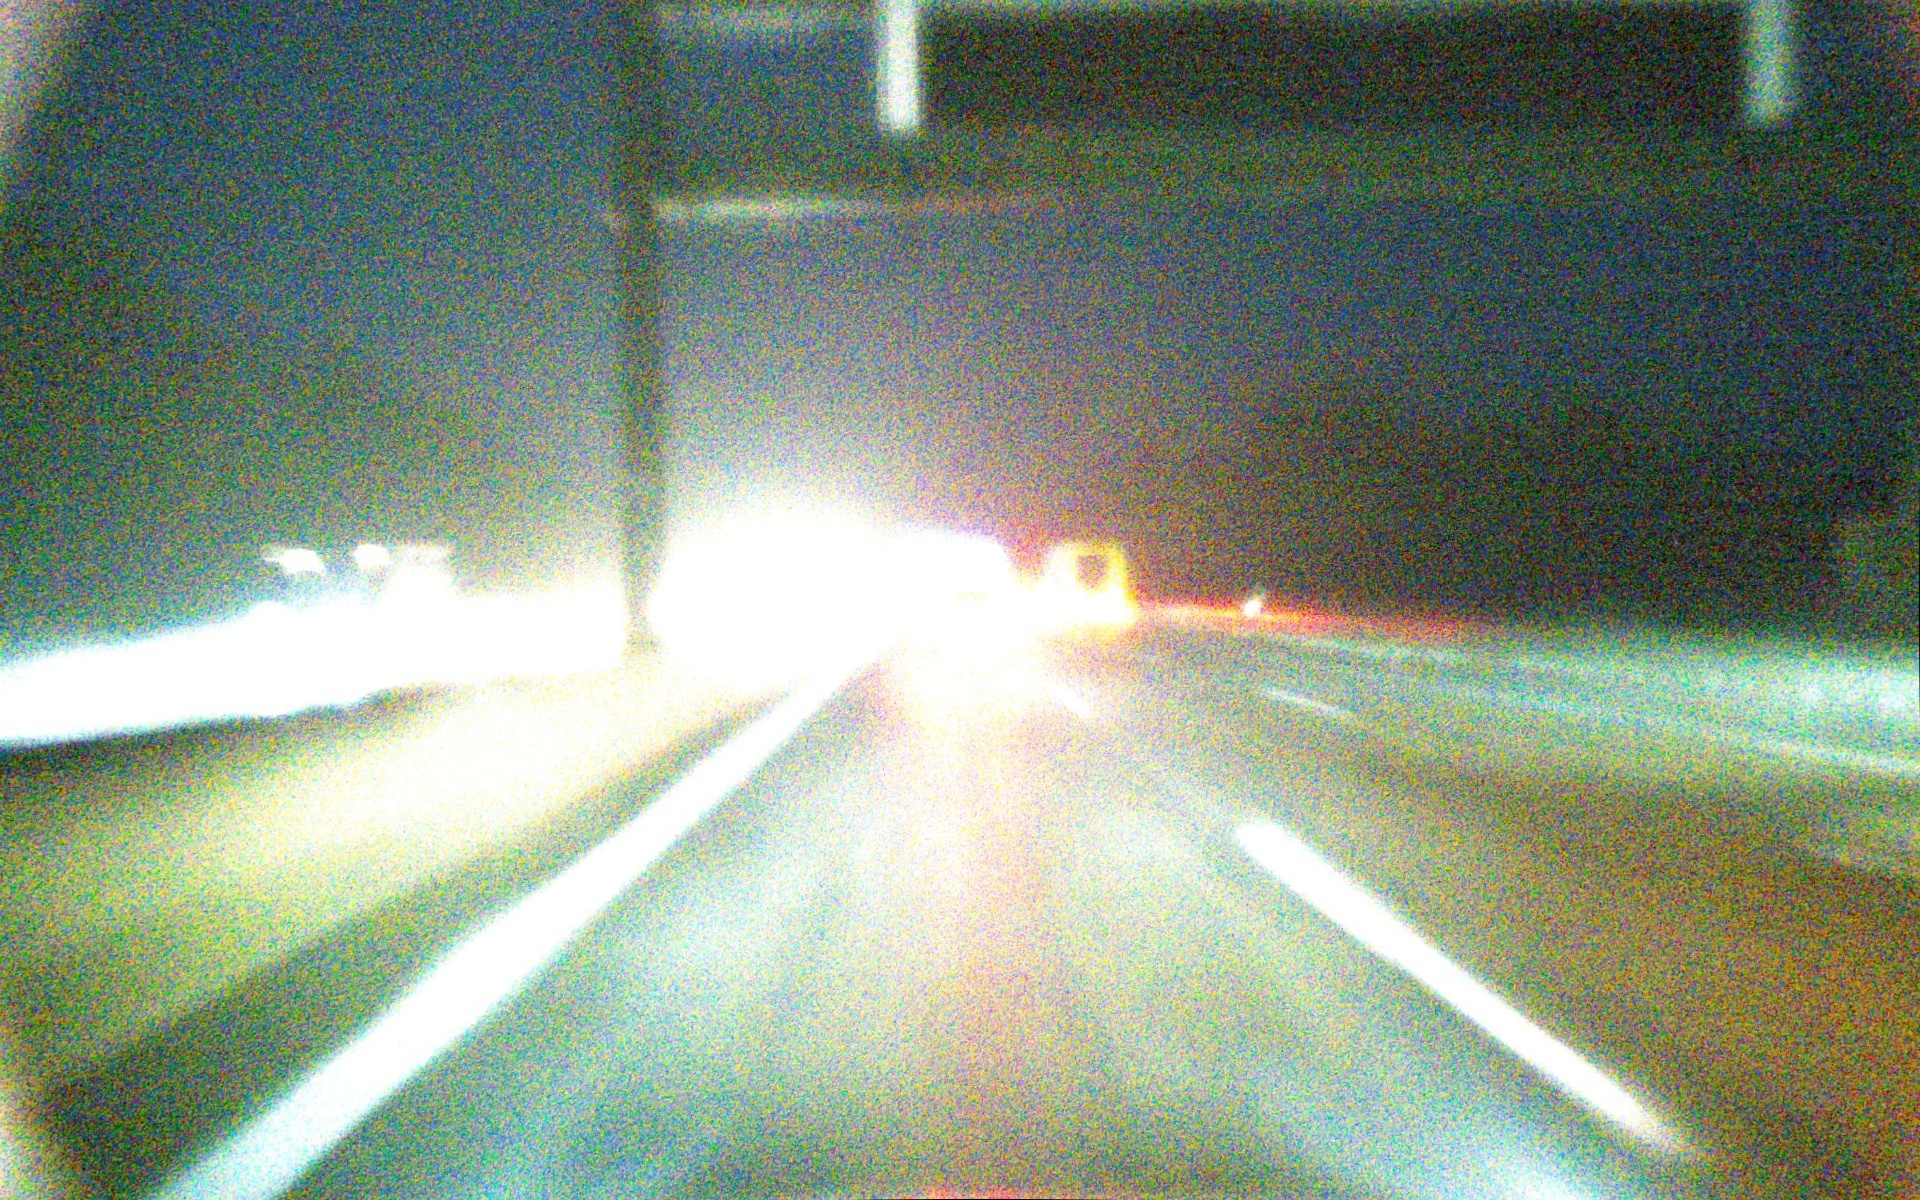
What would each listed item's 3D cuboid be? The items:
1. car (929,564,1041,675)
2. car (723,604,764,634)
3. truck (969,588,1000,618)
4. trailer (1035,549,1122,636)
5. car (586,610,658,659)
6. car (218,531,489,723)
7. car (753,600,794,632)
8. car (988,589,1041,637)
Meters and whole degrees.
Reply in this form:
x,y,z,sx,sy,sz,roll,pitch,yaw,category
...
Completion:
x,y,z,sx,sy,sz,roll,pitch,yaw,category
0.423,0.371,32.640,1.954,2.049,3.997,0,-1,-3,car
-13.338,1.188,102.063,1.877,1.713,4.505,-2,-1,0,car
2.884,0.362,198.075,2.976,3.355,11.375,-2,0,-2,truck
6.112,-0.313,87.923,2.980,4.180,13.821,-2,0,-2,trailer
-12.757,1.290,62.593,1.877,1.713,3.999,-2,-1,0,car
-16.973,0.617,47.446,3.629,4.811,10.598,1,1,1,car
-10.691,0.943,94.821,1.877,1.713,3.999,-2,-1,0,car
2.433,0.602,74.857,1.954,2.049,3.996,-2,0,-4,car
